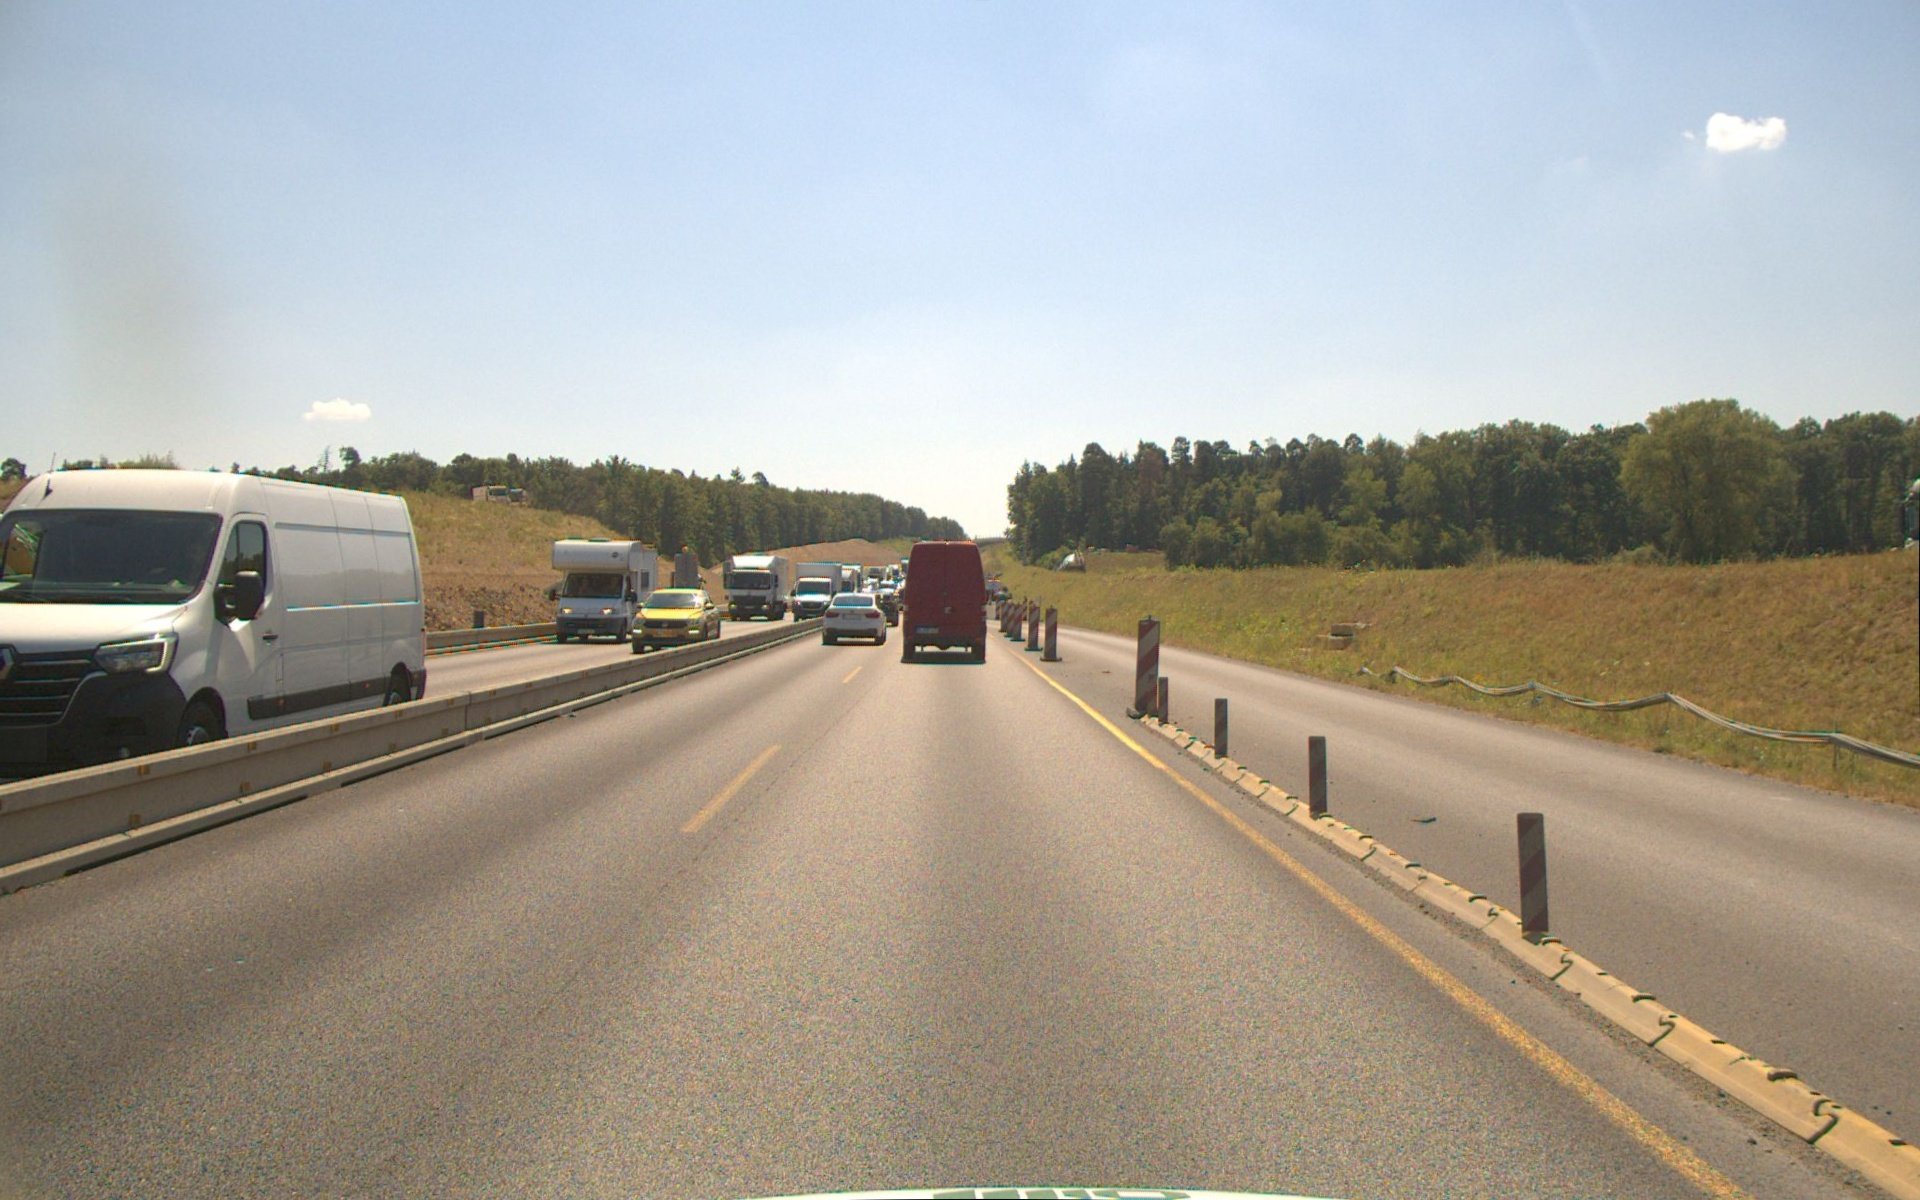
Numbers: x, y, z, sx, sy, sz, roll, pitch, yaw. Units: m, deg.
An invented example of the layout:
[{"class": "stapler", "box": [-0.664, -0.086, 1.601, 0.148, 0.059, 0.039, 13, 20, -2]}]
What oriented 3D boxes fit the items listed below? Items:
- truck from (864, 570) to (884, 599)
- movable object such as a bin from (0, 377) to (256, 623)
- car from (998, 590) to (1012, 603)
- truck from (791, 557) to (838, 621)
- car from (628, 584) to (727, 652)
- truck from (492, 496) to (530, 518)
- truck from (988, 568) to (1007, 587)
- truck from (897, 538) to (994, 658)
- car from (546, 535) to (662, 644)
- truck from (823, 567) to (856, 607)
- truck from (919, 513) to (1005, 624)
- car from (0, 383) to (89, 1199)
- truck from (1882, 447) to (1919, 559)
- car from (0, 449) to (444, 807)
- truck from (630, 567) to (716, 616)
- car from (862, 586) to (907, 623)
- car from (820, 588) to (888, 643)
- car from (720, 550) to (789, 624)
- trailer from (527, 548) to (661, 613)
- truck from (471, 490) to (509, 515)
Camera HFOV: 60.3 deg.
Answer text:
[{"class": "truck", "box": [-13.083, -2.338, 252.126, 2.440, 4.272, 5.913, -1, 0, 1]}, {"class": "movable object such as a bin", "box": [-30.491, -2.953, 48.637, 17.851, 6.891, 3.387, 1, 0, -1]}, {"class": "car", "box": [5.676, -0.462, 208.872, 1.620, 1.451, 4.545, -2, 1, 0]}, {"class": "truck", "box": [-7.646, -0.556, 87.725, 2.226, 3.205, 7.308, 1, 0, -3]}, {"class": "car", "box": [-7.060, 0.429, 41.728, 1.726, 1.601, 4.362, 1, 0, 0]}, {"class": "truck", "box": [-64.643, -13.339, 237.817, 2.277, 2.797, 8.793, 1, 0, -36]}, {"class": "truck", "box": [5.145, -3.134, 226.877, 2.084, 2.499, 5.930, 1, 1, 6]}, {"class": "truck", "box": [-0.357, -0.040, 39.445, 2.109, 2.635, 5.332, 1, 0, -1]}, {"class": "car", "box": [-10.537, -0.287, 49.431, 2.205, 3.007, 5.847, 1, 0, -1]}, {"class": "truck", "box": [-11.767, -1.195, 161.920, 2.591, 3.781, 9.480, 1, 0, -1]}, {"class": "truck", "box": [-0.022, -1.565, 92.885, 4.311, 5.592, 16.600, 1, 0, -1]}, {"class": "car", "box": [-2.700, 0.523, 1.125, 1.716, 1.856, 4.782, 1, 1, -1]}, {"class": "truck", "box": [25.217, -2.304, 40.454, 5.253, 2.589, 2.866, 1, 0, -38]}, {"class": "car", "box": [-6.366, 0.138, 14.175, 1.994, 2.384, 6.195, 1, 1, -1]}, {"class": "truck", "box": [-18.977, -0.553, 109.409, 4.993, 3.016, 2.561, 2, -1, -30]}, {"class": "car", "box": [-3.438, 0.188, 76.167, 1.927, 1.568, 4.310, 1, 1, -1]}, {"class": "car", "box": [-3.140, 0.456, 49.576, 1.794, 1.548, 3.960, 1, 0, -1]}, {"class": "car", "box": [-11.144, -0.728, 90.319, 2.849, 3.805, 8.089, 1, 1, -1]}, {"class": "trailer", "box": [-24.275, -1.307, 109.826, 8.164, 4.170, 2.802, 1, 0, 13]}, {"class": "truck", "box": [-65.342, -13.502, 229.906, 2.336, 2.949, 8.260, 1, 0, -36]}]
